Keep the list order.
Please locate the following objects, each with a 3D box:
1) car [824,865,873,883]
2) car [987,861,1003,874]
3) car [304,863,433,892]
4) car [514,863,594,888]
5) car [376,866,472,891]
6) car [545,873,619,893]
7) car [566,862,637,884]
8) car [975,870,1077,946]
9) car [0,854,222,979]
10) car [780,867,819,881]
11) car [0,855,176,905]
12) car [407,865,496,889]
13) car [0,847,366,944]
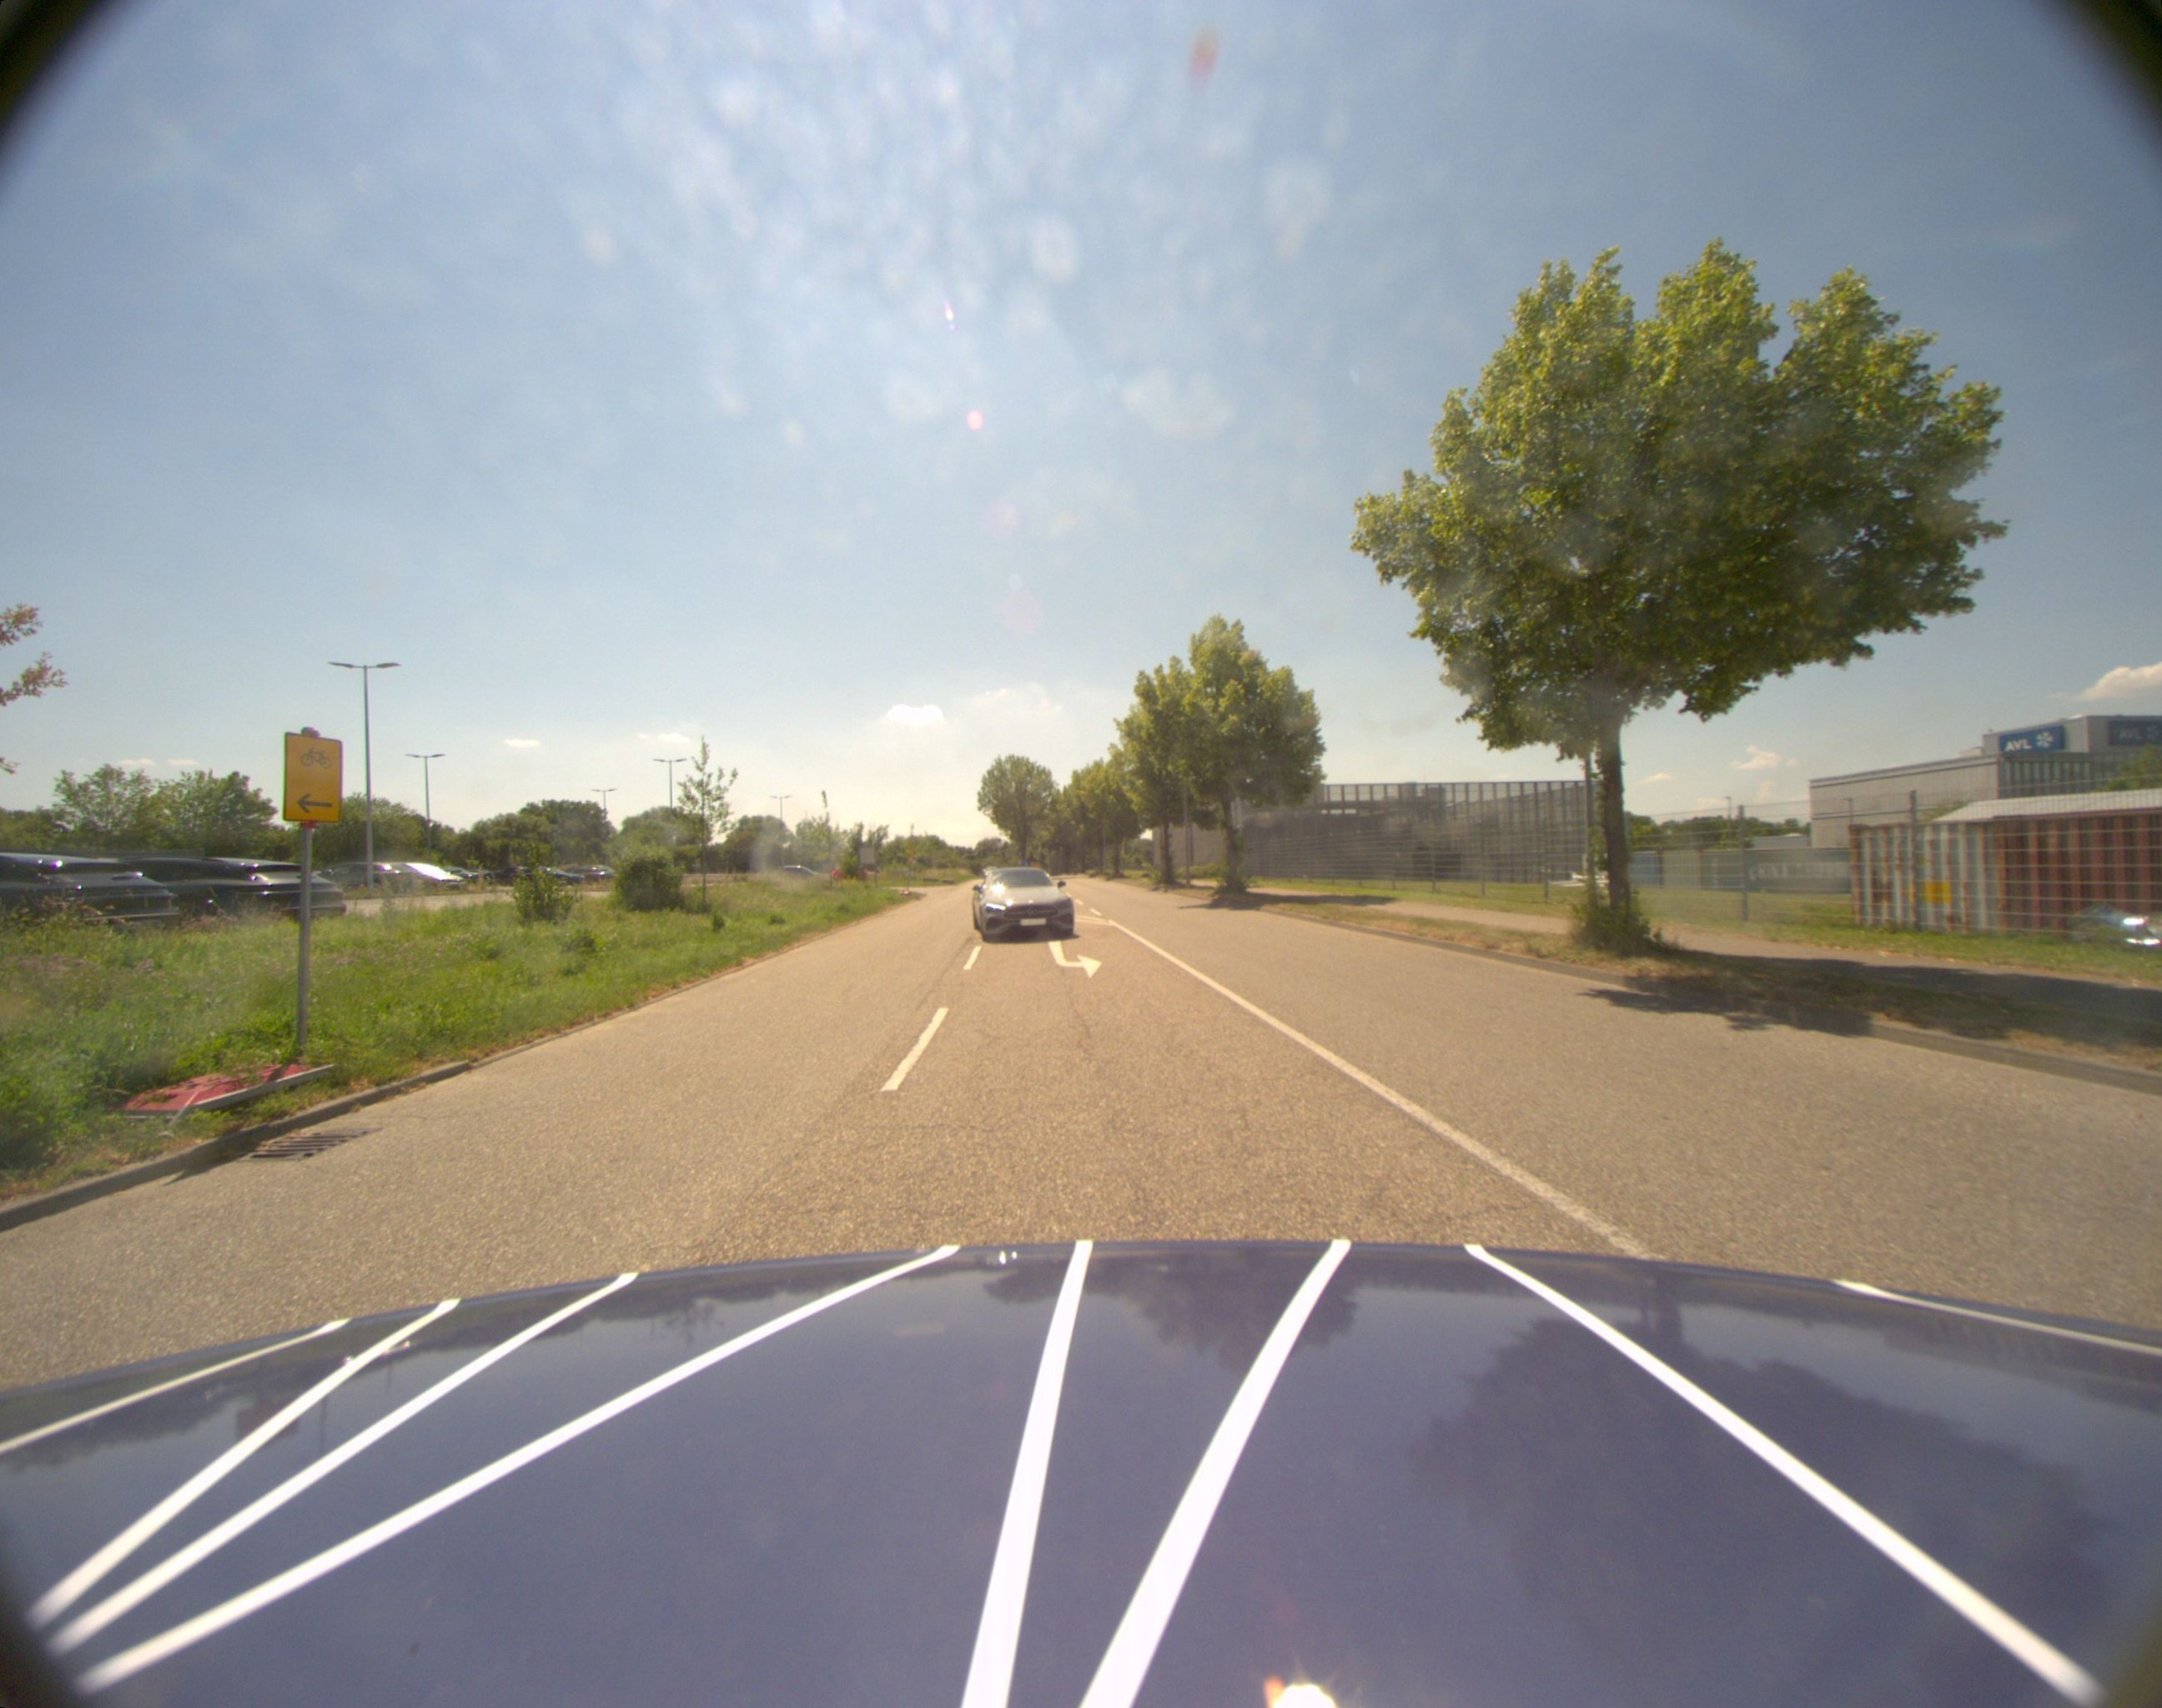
[{"bbox_3d":[-21.189,1.779,69.224,4.000,1.343,1.645,-3,1,-9],"label":"car"},{"bbox_3d":[-10.459,1.630,92.601,1.673,1.366,4.495,-4,0,-4],"label":"car"},{"bbox_3d":[-33.183,1.094,35.467,4.301,1.289,1.557,1,0,-6],"label":"car"},{"bbox_3d":[-35.063,1.430,50.671,4.000,1.343,1.645,-3,1,-9],"label":"car"},{"bbox_3d":[-33.395,1.234,38.689,3.462,1.216,1.464,0,0,-6],"label":"car"},{"bbox_3d":[-35.101,2.055,53.514,4.000,1.343,1.645,0,0,-9],"label":"car"},{"bbox_3d":[-35.378,1.368,56.160,4.000,1.343,1.645,-3,1,-9],"label":"car"},{"bbox_3d":[-1.328,1.083,16.937,1.898,1.375,4.631,-2,-1,-7],"label":"car"},{"bbox_3d":[-14.852,0.785,10.129,4.401,1.536,1.814,0,0,-6],"label":"car"},{"bbox_3d":[-32.954,2.367,89.126,4.000,1.343,1.645,-3,1,-9],"label":"car"},{"bbox_3d":[-32.092,0.828,24.598,3.438,1.536,1.560,1,0,-6],"label":"car"},{"bbox_3d":[-34.176,1.240,41.313,3.462,1.216,1.464,1,0,-6],"label":"car"},{"bbox_3d":[-15.012,0.641,12.753,3.998,1.284,1.908,-3,1,-4],"label":"car"}]
